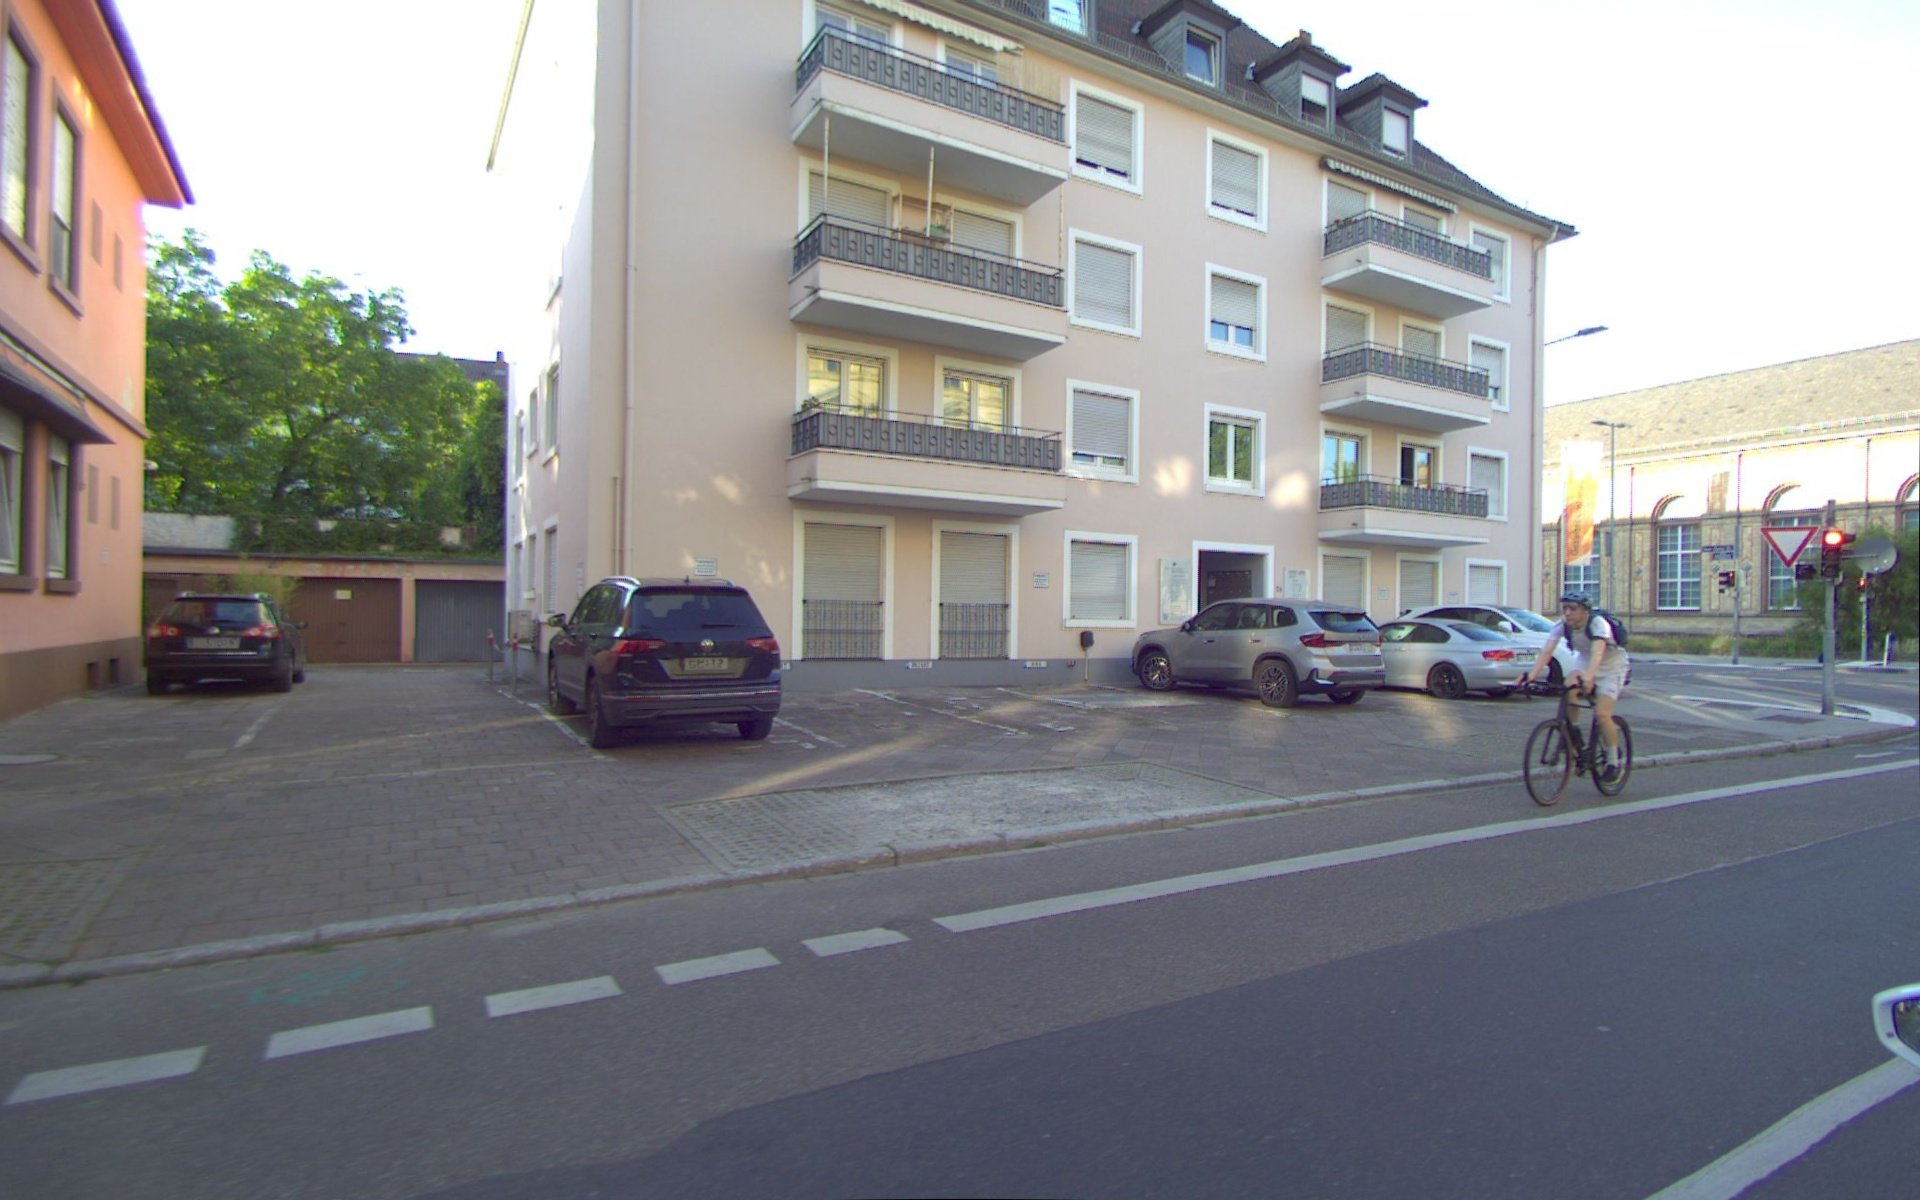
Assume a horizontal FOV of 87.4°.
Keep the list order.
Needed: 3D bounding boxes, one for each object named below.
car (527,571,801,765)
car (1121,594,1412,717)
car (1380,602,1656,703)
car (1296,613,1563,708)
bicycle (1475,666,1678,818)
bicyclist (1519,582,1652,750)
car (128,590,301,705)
[{"bbox_3d":[-3.465,0.551,11.115,1.843,1.687,4.394,1,1,-31],"label":"car"},{"bbox_3d":[4.808,0.780,16.409,1.894,1.627,4.394,1,1,-31],"label":"car"},{"bbox_3d":[10.903,0.937,19.962,1.920,1.663,4.417,1,1,-31],"label":"car"},{"bbox_3d":[8.539,1.030,18.657,1.716,1.399,4.244,1,1,-31],"label":"car"},{"bbox_3d":[5.387,1.185,8.736,2.029,1.171,0.622,3,-2,-31],"label":"bicycle"},{"bbox_3d":[5.480,0.568,8.799,0.918,1.382,0.622,3,-2,-30],"label":"bicyclist"},{"bbox_3d":[-11.566,0.669,15.826,1.866,1.576,3.778,1,-1,-32],"label":"car"}]
